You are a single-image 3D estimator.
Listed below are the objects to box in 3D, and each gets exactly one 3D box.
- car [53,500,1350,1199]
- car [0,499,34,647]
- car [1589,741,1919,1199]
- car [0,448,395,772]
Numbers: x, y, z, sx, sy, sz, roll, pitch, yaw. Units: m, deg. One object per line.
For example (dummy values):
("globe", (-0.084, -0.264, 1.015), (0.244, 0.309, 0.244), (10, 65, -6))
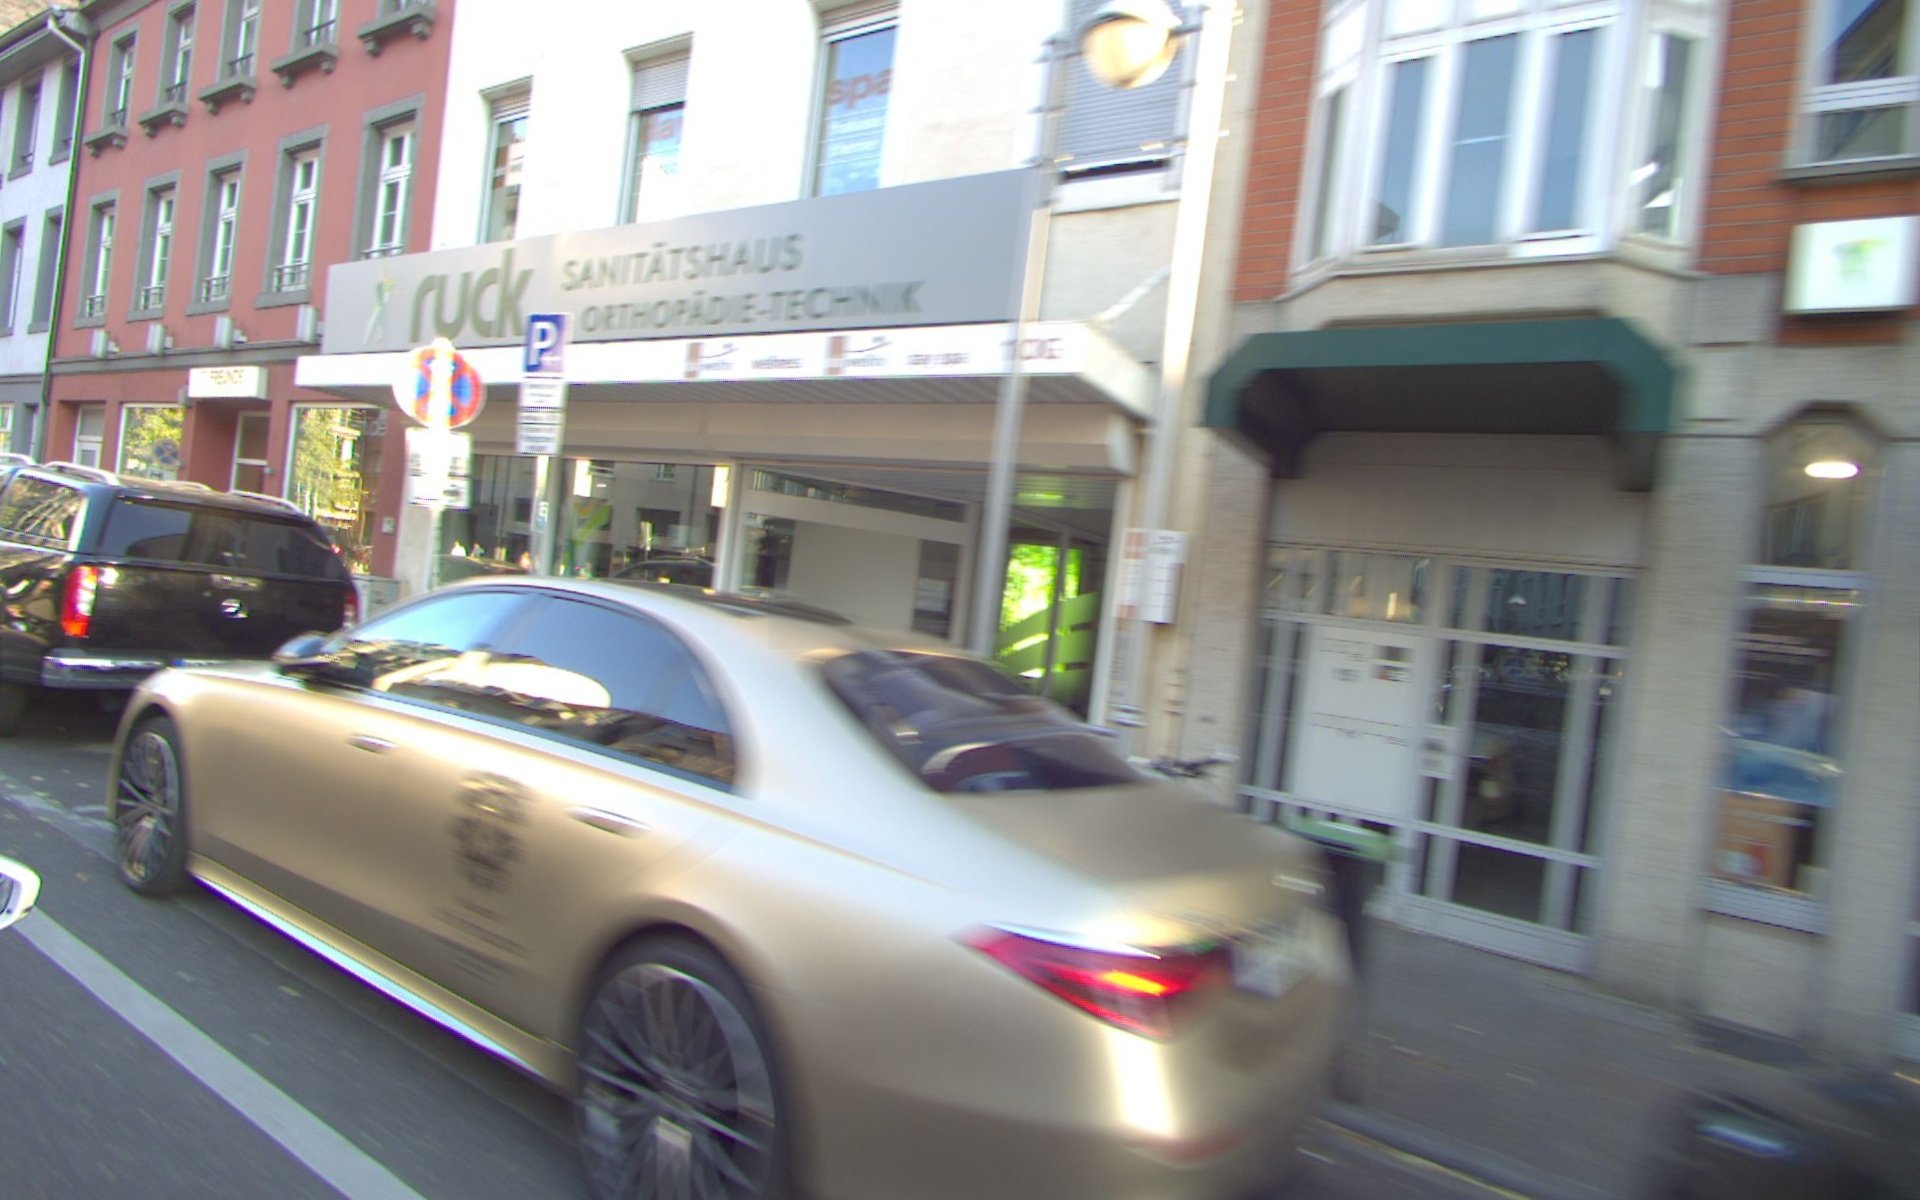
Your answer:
("car", (-1.373, 0.637, 3.794), (4.914, 1.545, 1.814), (6, -2, 34))
("car", (-11.959, -0.541, 10.870), (4.237, 1.501, 1.765), (6, -2, 33))
("car", (3.202, 1.250, 0.807), (4.434, 1.437, 1.756), (7, -1, 32))
("car", (-6.698, -0.081, 7.616), (4.975, 1.775, 1.887), (6, -2, 31))
